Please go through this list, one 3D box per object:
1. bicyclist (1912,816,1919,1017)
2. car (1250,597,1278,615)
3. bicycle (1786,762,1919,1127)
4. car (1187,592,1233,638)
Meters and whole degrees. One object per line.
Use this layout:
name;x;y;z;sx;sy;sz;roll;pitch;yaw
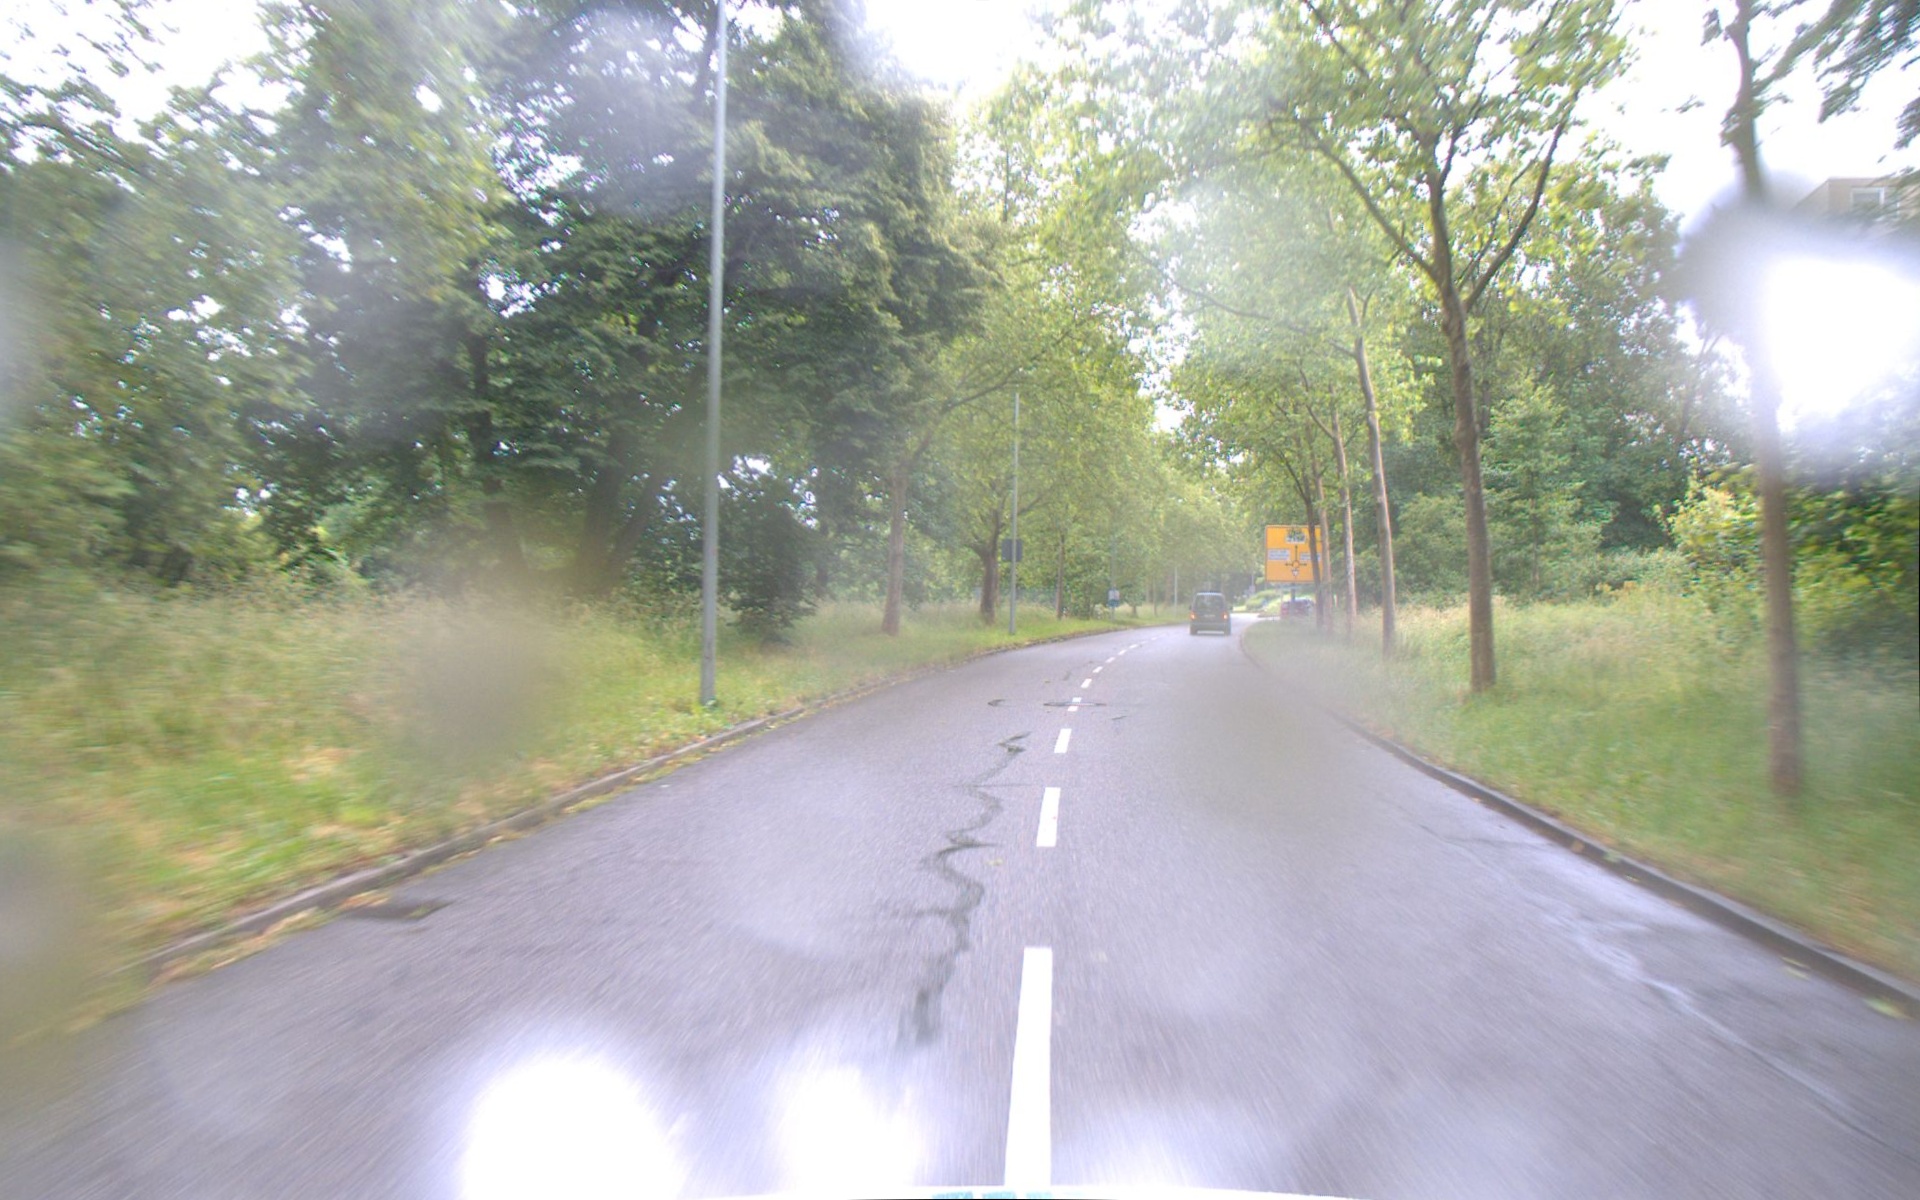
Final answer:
bicyclist;3.224;0.539;4.465;0.714;1.435;0.973;3;0;2
car;27.464;0.534;149.537;1.757;1.536;4.000;2;0;21
bicycle;3.204;1.077;4.643;0.714;0.991;2.173;3;0;2
car;11.293;0.641;74.624;1.943;1.959;4.003;2;0;9
